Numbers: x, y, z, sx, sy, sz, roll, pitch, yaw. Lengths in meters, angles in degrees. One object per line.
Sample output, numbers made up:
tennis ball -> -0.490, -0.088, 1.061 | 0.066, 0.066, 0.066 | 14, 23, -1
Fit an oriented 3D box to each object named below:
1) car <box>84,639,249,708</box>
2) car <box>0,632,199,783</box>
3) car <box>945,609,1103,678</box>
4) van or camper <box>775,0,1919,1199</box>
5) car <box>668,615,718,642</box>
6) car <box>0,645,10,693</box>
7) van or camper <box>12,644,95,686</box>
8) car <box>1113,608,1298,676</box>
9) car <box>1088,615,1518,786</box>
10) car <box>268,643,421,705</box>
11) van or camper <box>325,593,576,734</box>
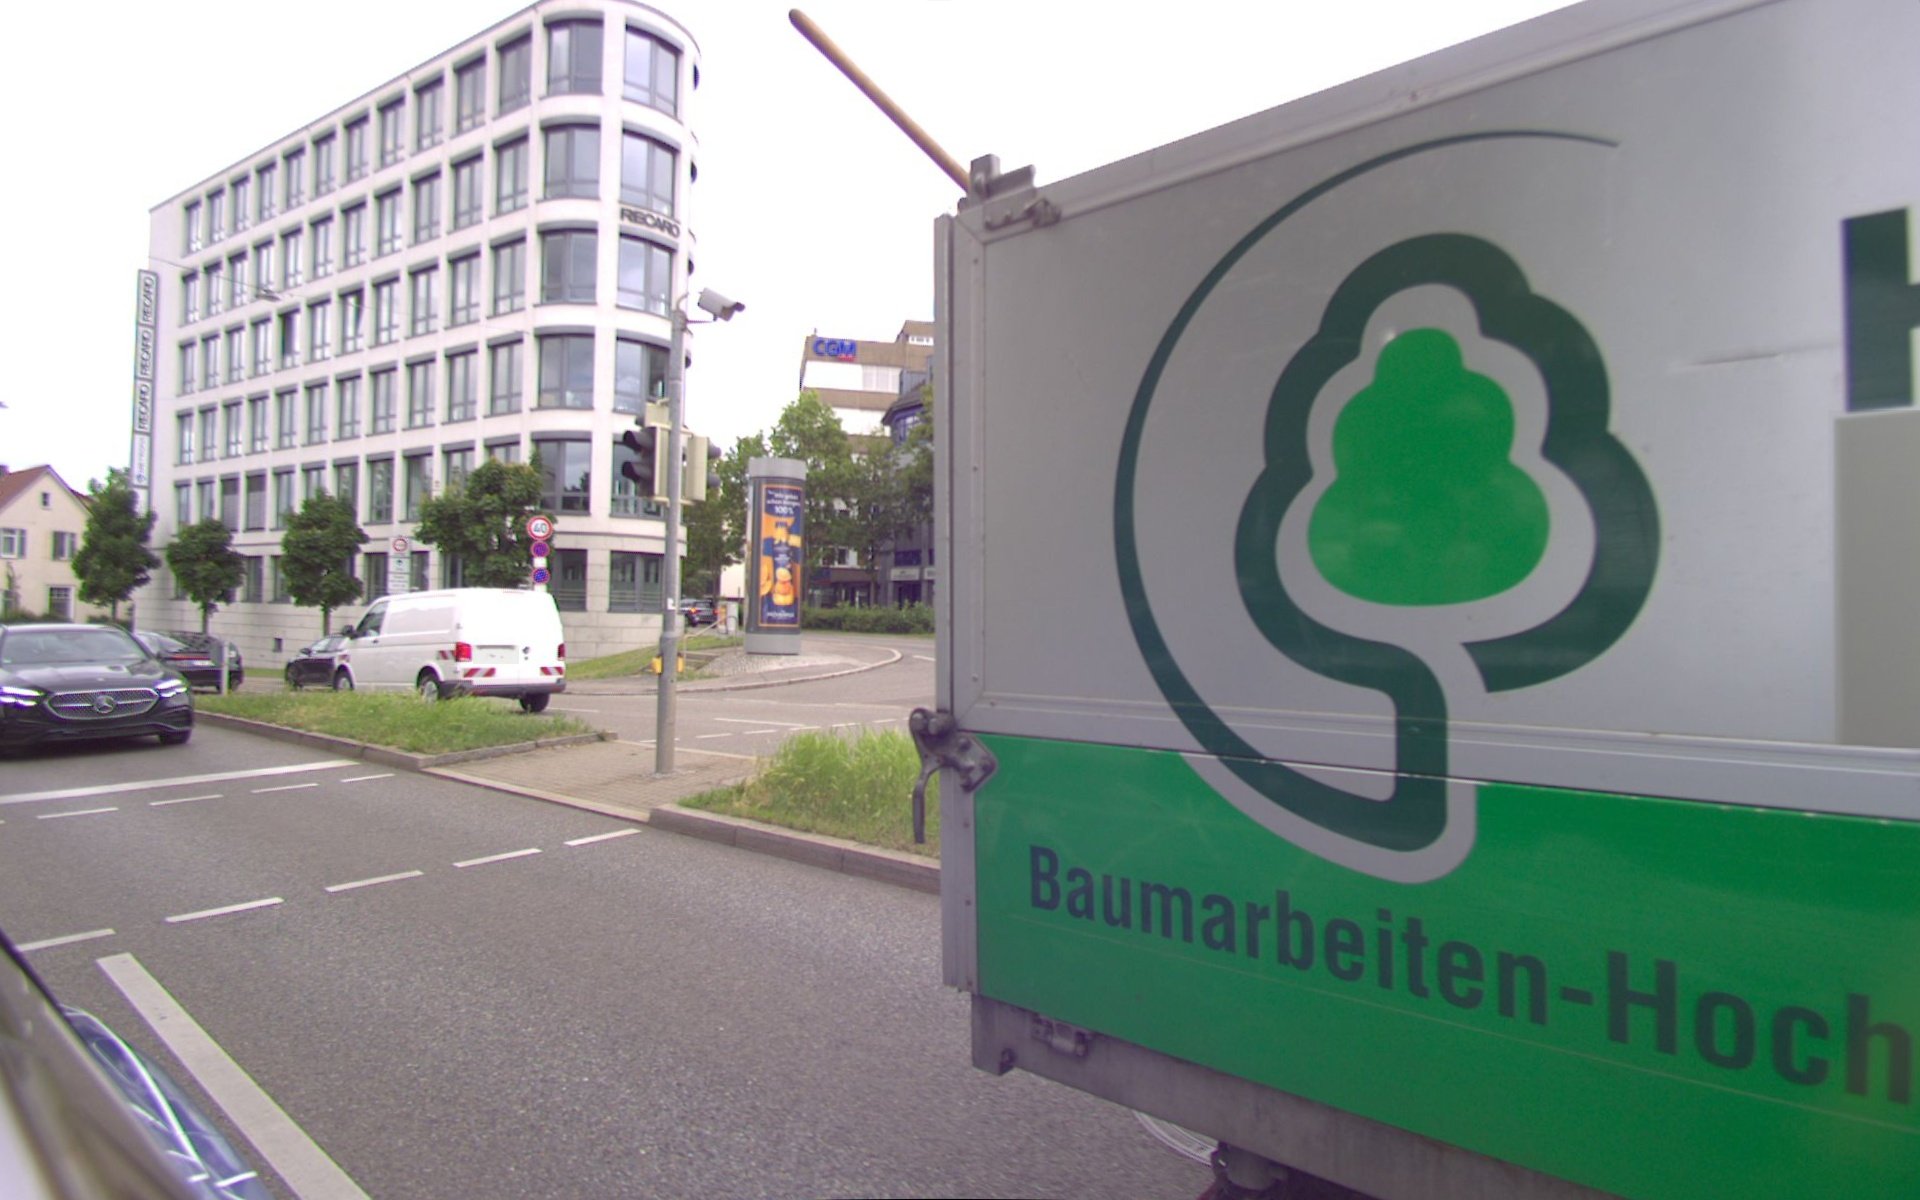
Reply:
car -> -18.591, 1.685, 23.660 | 4.470, 1.493, 1.762 | -2, -4, 35
car -> -11.087, 1.241, 12.471 | 4.332, 1.542, 1.854 | -4, -3, 40
car -> 1.494, 1.016, 25.456 | 1.751, 1.474, 4.454 | -1, 1, -31
van or camper -> 2.753, 0.144, 0.646 | 5.957, 2.682, 2.320 | -1, -1, 39
car -> -16.033, 1.677, 60.600 | 1.689, 1.474, 4.454 | -1, 1, -31
car -> -33.710, 2.342, 34.128 | 3.993, 1.577, 1.761 | -3, -3, 37
van or camper -> -46.222, 3.307, 51.578 | 4.860, 1.983, 2.043 | -4, -4, 34
car -> 5.892, 0.969, 24.836 | 1.751, 1.474, 4.453 | -1, 0, -31
car -> 3.537, 0.919, 10.795 | 3.995, 1.475, 1.727 | -1, -1, 38
car -> -15.365, 1.807, 25.213 | 3.939, 1.389, 1.769 | -3, -2, 34
van or camper -> -8.453, 0.968, 16.662 | 4.442, 2.029, 1.975 | -1, -2, 38
